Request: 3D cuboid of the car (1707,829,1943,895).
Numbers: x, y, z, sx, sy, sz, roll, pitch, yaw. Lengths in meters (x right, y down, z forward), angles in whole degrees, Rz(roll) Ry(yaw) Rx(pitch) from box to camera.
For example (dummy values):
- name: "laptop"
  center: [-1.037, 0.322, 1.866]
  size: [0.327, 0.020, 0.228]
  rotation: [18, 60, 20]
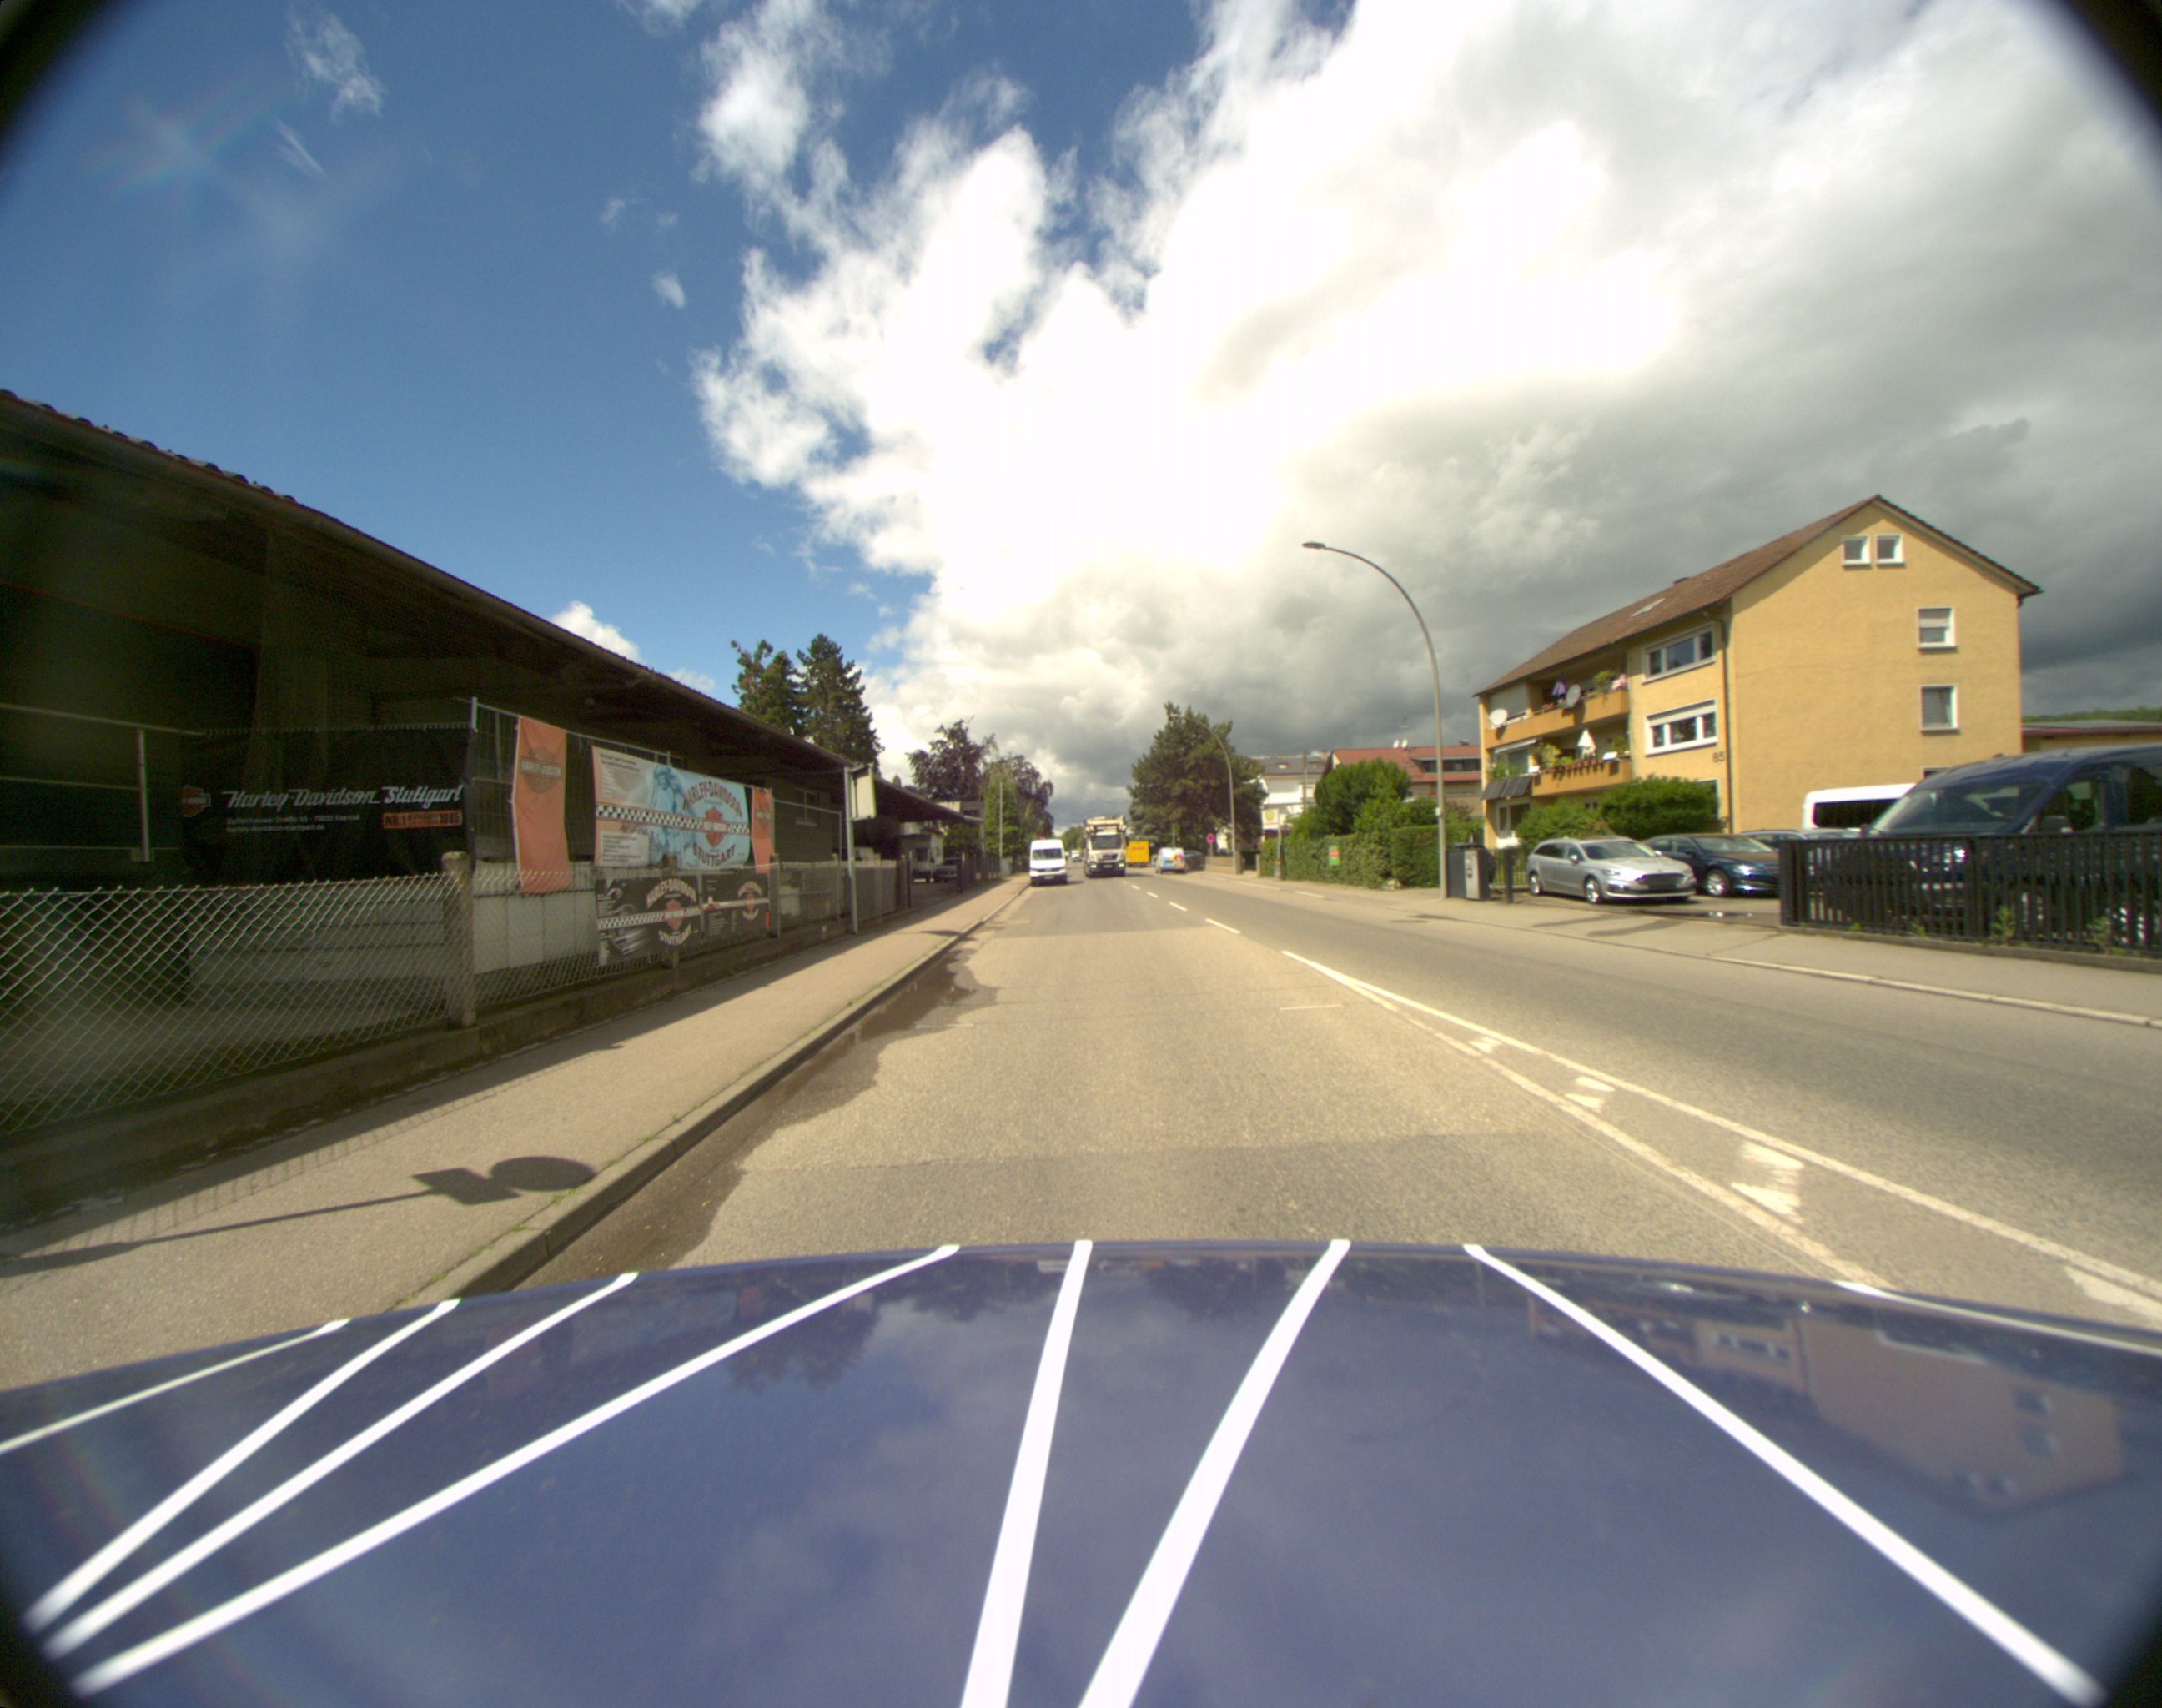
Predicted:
- name: "car"
  center: [17.912, 0.150, 18.613]
  size: [1.883, 1.364, 3.999]
  rotation: [-2, 1, 1]

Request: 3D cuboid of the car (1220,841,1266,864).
- name: "car"
  center: [15.295, -0.145, 71.847]
  size: [2.003, 2.002, 3.990]
  rotation: [-3, 1, -32]

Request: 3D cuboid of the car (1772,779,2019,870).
- name: "car"
  center: [20.431, -0.685, 19.363]
  size: [1.998, 2.002, 3.999]
  rotation: [-2, 1, 1]

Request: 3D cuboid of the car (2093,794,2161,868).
- name: "car"
  center: [28.713, -0.621, 18.819]
  size: [1.998, 1.915, 3.999]
  rotation: [-2, 1, 1]

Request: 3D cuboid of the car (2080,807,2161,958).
- name: "car"
  center: [12.381, 0.286, 6.918]
  size: [1.813, 1.612, 3.621]
  rotation: [-2, 1, 1]

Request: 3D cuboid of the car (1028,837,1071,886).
- name: "car"
  center: [-1.703, 0.369, 43.191]
  size: [2.091, 2.519, 5.202]
  rotation: [-2, 1, 1]

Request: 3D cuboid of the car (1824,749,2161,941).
- name: "car"
  center: [14.223, -0.178, 10.677]
  size: [5.363, 2.371, 2.104]
  rotation: [-2, 1, 2]

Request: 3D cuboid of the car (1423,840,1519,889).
- name: "car"
  center: [14.629, 0.363, 28.733]
  size: [1.831, 1.656, 3.522]
  rotation: [-2, 1, 1]

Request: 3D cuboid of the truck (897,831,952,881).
- name: "truck"
  center: [-9.473, 0.098, 46.398]
  size: [2.091, 2.812, 5.202]
  rotation: [-2, 1, 1]

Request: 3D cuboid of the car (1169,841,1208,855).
- name: "car"
  center: [14.168, -0.744, 99.992]
  size: [4.735, 1.669, 2.218]
  rotation: [-2, 1, -1]

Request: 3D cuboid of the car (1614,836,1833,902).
- name: "car"
  center: [15.104, 0.304, 18.202]
  size: [1.885, 1.334, 3.999]
  rotation: [-2, 1, 1]

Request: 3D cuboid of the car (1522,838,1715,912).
- name: "car"
  center: [12.339, 0.397, 17.854]
  size: [1.887, 1.450, 4.352]
  rotation: [-3, 1, 8]

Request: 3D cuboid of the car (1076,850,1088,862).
- name: "car"
  center: [0.223, 0.395, 147.357]
  size: [2.091, 2.310, 5.202]
  rotation: [-2, 1, 1]

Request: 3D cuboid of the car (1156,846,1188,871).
- name: "car"
  center: [6.562, 0.319, 55.118]
  size: [1.730, 1.671, 3.999]
  rotation: [-2, 1, -2]

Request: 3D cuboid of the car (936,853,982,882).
- name: "car"
  center: [-7.139, 0.728, 44.834]
  size: [1.863, 1.521, 5.202]
  rotation: [-2, 1, 0]

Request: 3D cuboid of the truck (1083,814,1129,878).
- name: "truck"
  center: [1.592, -0.550, 51.592]
  size: [2.664, 3.789, 9.814]
  rotation: [-2, 1, 1]
